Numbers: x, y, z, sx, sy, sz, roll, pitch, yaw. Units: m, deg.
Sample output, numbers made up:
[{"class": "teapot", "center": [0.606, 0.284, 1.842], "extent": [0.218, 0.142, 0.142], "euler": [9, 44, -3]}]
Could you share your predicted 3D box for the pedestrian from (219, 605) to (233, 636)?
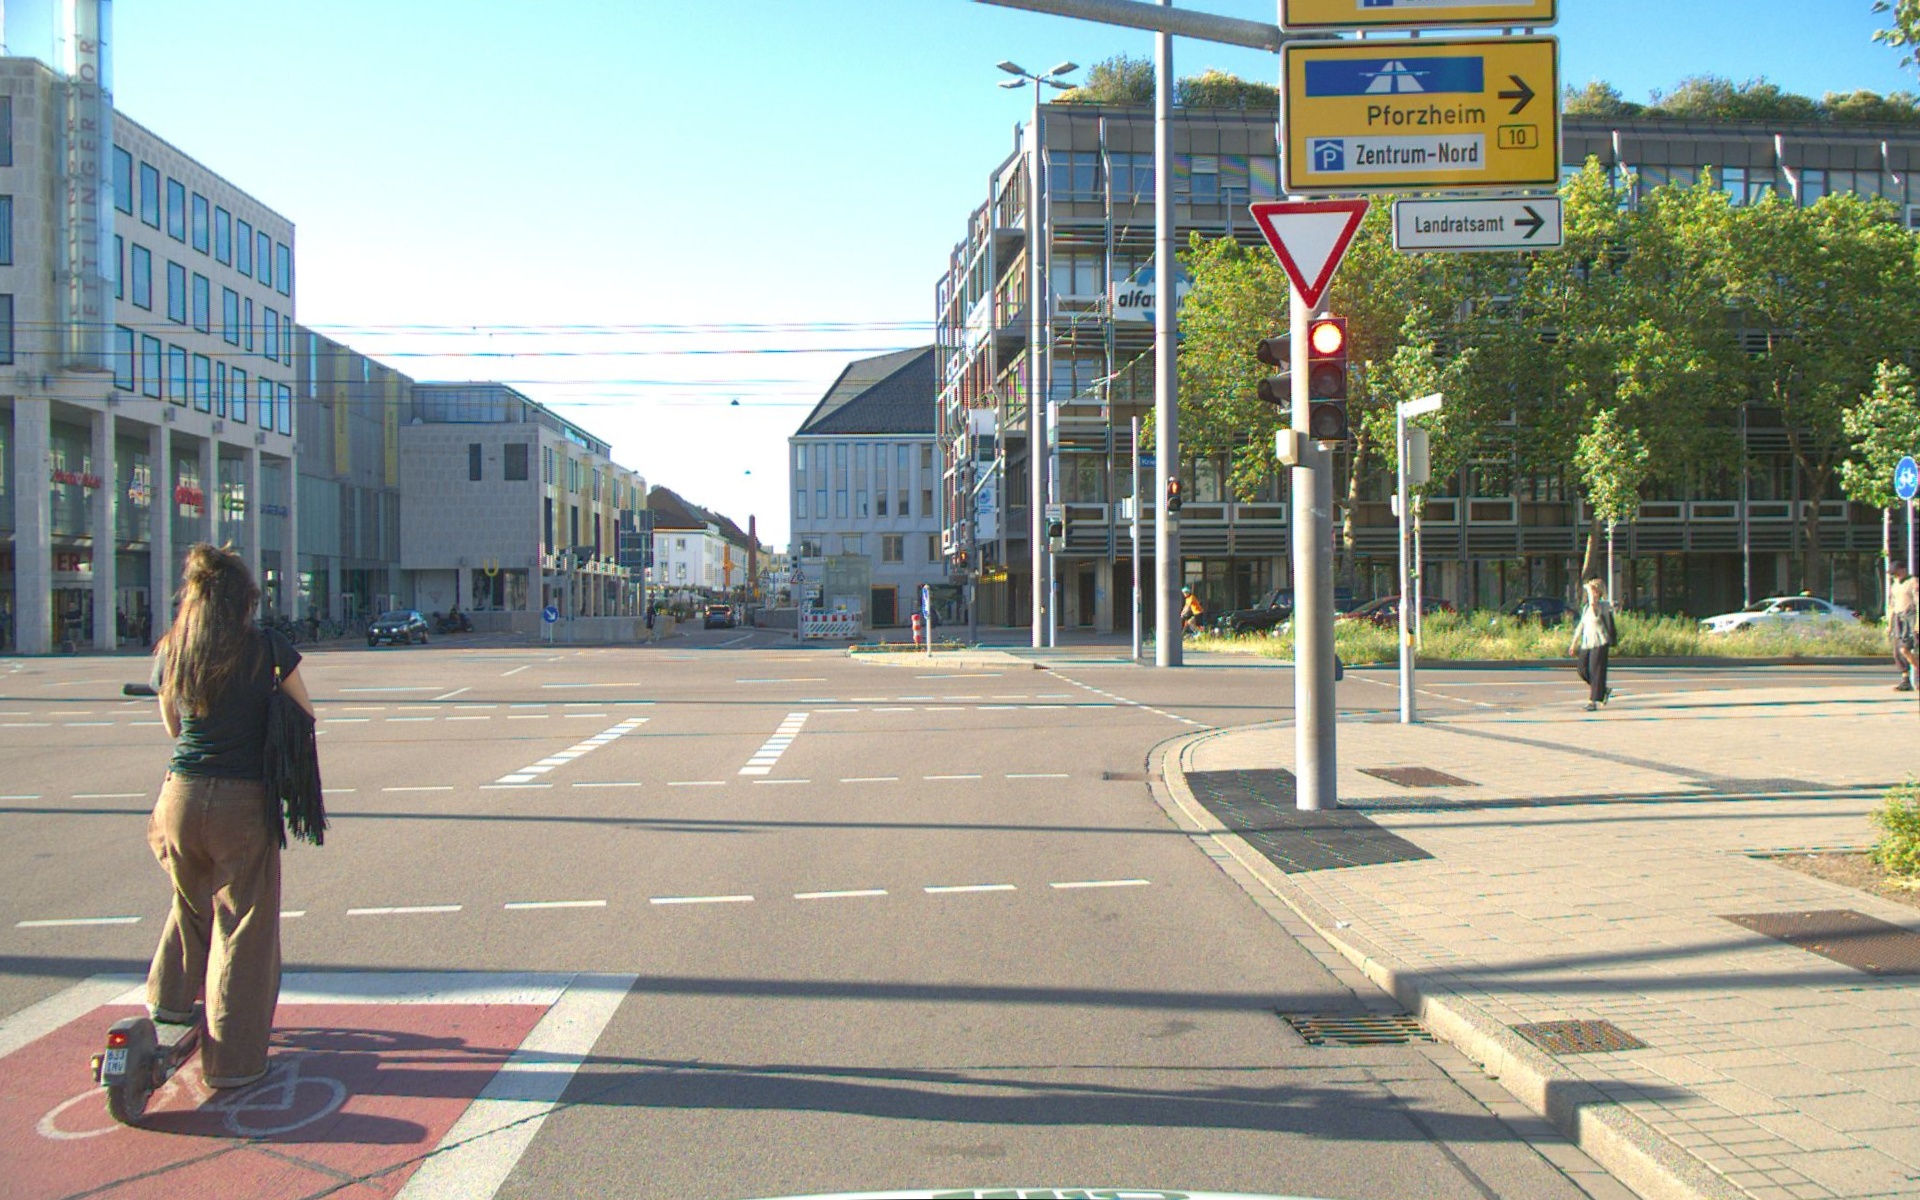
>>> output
[{"class": "pedestrian", "center": [-36.173, 1.010, 81.465], "extent": [0.472, 1.537, 0.513], "euler": [-1, 0, -5]}]

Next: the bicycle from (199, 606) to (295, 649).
[{"class": "bicycle", "center": [-29.324, 1.114, 68.036], "extent": [3.427, 1.726, 1.114], "euler": [-1, 0, -10]}]

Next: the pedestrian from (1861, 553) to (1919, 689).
[{"class": "pedestrian", "center": [12.620, 0.264, 21.970], "extent": [0.682, 1.759, 0.939], "euler": [-1, 0, -14]}]

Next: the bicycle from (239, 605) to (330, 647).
[{"class": "bicycle", "center": [-28.870, 1.089, 70.716], "extent": [3.427, 1.726, 1.114], "euler": [-1, 0, -10]}]

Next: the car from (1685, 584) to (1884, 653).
[{"class": "car", "center": [26.169, 0.578, 52.576], "extent": [5.332, 2.049, 2.096], "euler": [1, 0, -3]}]

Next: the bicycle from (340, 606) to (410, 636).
[{"class": "bicycle", "center": [-31.481, 1.140, 89.022], "extent": [3.430, 1.554, 0.984], "euler": [-1, 0, -12]}]

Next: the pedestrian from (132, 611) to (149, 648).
[{"class": "pedestrian", "center": [-34.836, 1.249, 70.277], "extent": [0.472, 1.537, 0.513], "euler": [-1, 0, -5]}]

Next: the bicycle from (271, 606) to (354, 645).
[{"class": "bicycle", "center": [-30.040, 1.180, 76.785], "extent": [3.430, 1.726, 0.984], "euler": [-1, 0, -12]}]

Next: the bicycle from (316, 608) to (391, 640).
[{"class": "bicycle", "center": [-30.886, 1.214, 84.269], "extent": [3.430, 1.554, 0.984], "euler": [-1, 0, -12]}]

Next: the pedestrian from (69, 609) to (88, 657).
[{"class": "pedestrian", "center": [-30.859, 1.158, 57.900], "extent": [0.533, 1.671, 0.546], "euler": [-1, 0, -23]}]

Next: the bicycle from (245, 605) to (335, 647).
[{"class": "bicycle", "center": [-29.100, 1.125, 71.928], "extent": [3.427, 1.726, 1.114], "euler": [-1, 0, -10]}]

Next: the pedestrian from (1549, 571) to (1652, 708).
[{"class": "pedestrian", "center": [7.940, 0.476, 20.542], "extent": [0.787, 1.658, 0.939], "euler": [-1, 0, -14]}]

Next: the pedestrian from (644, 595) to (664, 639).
[{"class": "pedestrian", "center": [-11.932, 0.671, 64.460], "extent": [0.650, 1.687, 0.755], "euler": [-1, 0, -4]}]

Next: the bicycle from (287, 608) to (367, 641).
[{"class": "bicycle", "center": [-30.543, 1.173, 79.859], "extent": [3.430, 1.554, 0.984], "euler": [-1, 0, -12]}]

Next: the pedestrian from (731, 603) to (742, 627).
[{"class": "pedestrian", "center": [-13.688, 0.928, 101.265], "extent": [0.598, 1.436, 0.569], "euler": [-1, 0, -7]}]

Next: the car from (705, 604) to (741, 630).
[{"class": "car", "center": [-15.497, 1.099, 108.166], "extent": [2.157, 1.635, 4.320], "euler": [-1, 0, -6]}]

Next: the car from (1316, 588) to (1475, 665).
[{"class": "car", "center": [12.228, 0.733, 46.580], "extent": [3.908, 2.049, 1.999], "euler": [1, 0, -3]}]

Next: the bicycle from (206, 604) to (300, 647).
[{"class": "bicycle", "center": [-29.549, 1.054, 69.184], "extent": [3.427, 1.726, 1.114], "euler": [-1, 0, -10]}]

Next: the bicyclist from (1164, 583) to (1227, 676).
[{"class": "bicyclist", "center": [6.715, 0.832, 47.225], "extent": [1.539, 2.625, 0.930], "euler": [-1, 0, -10]}]

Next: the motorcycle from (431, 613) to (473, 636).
[{"class": "motorcycle", "center": [-29.955, 1.438, 97.597], "extent": [2.230, 1.341, 0.719], "euler": [-1, 0, -6]}]

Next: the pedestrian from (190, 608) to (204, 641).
[{"class": "pedestrian", "center": [-35.954, 1.143, 77.943], "extent": [0.472, 1.537, 0.513], "euler": [-1, 0, -5]}]

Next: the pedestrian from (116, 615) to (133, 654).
[{"class": "pedestrian", "center": [-35.118, 1.456, 69.502], "extent": [0.472, 1.613, 0.513], "euler": [-1, 0, -5]}]

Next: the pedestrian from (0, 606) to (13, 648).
[{"class": "pedestrian", "center": [-37.037, 1.061, 64.064], "extent": [0.420, 1.613, 0.498], "euler": [-1, 0, -5]}]

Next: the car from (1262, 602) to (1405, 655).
[{"class": "car", "center": [11.437, 0.864, 50.817], "extent": [3.908, 1.534, 1.867], "euler": [1, 0, -4]}]

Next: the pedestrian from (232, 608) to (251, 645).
[{"class": "pedestrian", "center": [-33.013, 1.232, 76.031], "extent": [0.641, 1.671, 0.693], "euler": [-1, 0, -9]}]

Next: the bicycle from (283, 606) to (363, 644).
[{"class": "bicycle", "center": [-30.339, 1.189, 78.870], "extent": [3.430, 1.726, 0.984], "euler": [-1, 0, -12]}]

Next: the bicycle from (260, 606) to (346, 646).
[{"class": "bicycle", "center": [-29.575, 1.170, 74.497], "extent": [3.430, 1.726, 0.984], "euler": [-1, 0, -12]}]

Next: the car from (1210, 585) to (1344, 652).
[{"class": "car", "center": [10.302, 0.598, 53.921], "extent": [3.908, 2.049, 1.999], "euler": [1, 0, -3]}]

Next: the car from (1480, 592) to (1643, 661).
[{"class": "car", "center": [18.824, 0.821, 51.881], "extent": [4.359, 2.049, 1.998], "euler": [1, 0, -6]}]

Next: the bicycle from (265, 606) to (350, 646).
[{"class": "bicycle", "center": [-29.799, 1.179, 75.585], "extent": [3.430, 1.726, 0.984], "euler": [-1, 0, -12]}]

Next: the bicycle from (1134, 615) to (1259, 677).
[{"class": "bicycle", "center": [6.745, 1.301, 47.224], "extent": [3.427, 1.688, 0.929], "euler": [-1, 0, -10]}]

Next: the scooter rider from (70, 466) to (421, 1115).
[{"class": "scooter rider", "center": [-2.124, 0.529, 5.020], "extent": [0.713, 1.806, 0.811], "euler": [0, 0, -1]}]

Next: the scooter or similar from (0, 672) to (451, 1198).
[{"class": "scooter or similar", "center": [-2.125, 0.867, 4.938], "extent": [0.713, 1.223, 1.664], "euler": [0, 0, -1]}]

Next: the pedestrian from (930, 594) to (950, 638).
[{"class": "pedestrian", "center": [-0.782, 0.616, 64.820], "extent": [0.715, 1.687, 0.649], "euler": [-1, 0, -8]}]

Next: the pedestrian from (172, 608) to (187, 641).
[{"class": "pedestrian", "center": [-36.688, 1.129, 77.705], "extent": [0.472, 1.537, 0.513], "euler": [-1, 0, -5]}]

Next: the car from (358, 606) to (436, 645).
[{"class": "car", "center": [-23.517, 1.043, 69.242], "extent": [1.953, 1.512, 3.999], "euler": [-1, 0, -1]}]
